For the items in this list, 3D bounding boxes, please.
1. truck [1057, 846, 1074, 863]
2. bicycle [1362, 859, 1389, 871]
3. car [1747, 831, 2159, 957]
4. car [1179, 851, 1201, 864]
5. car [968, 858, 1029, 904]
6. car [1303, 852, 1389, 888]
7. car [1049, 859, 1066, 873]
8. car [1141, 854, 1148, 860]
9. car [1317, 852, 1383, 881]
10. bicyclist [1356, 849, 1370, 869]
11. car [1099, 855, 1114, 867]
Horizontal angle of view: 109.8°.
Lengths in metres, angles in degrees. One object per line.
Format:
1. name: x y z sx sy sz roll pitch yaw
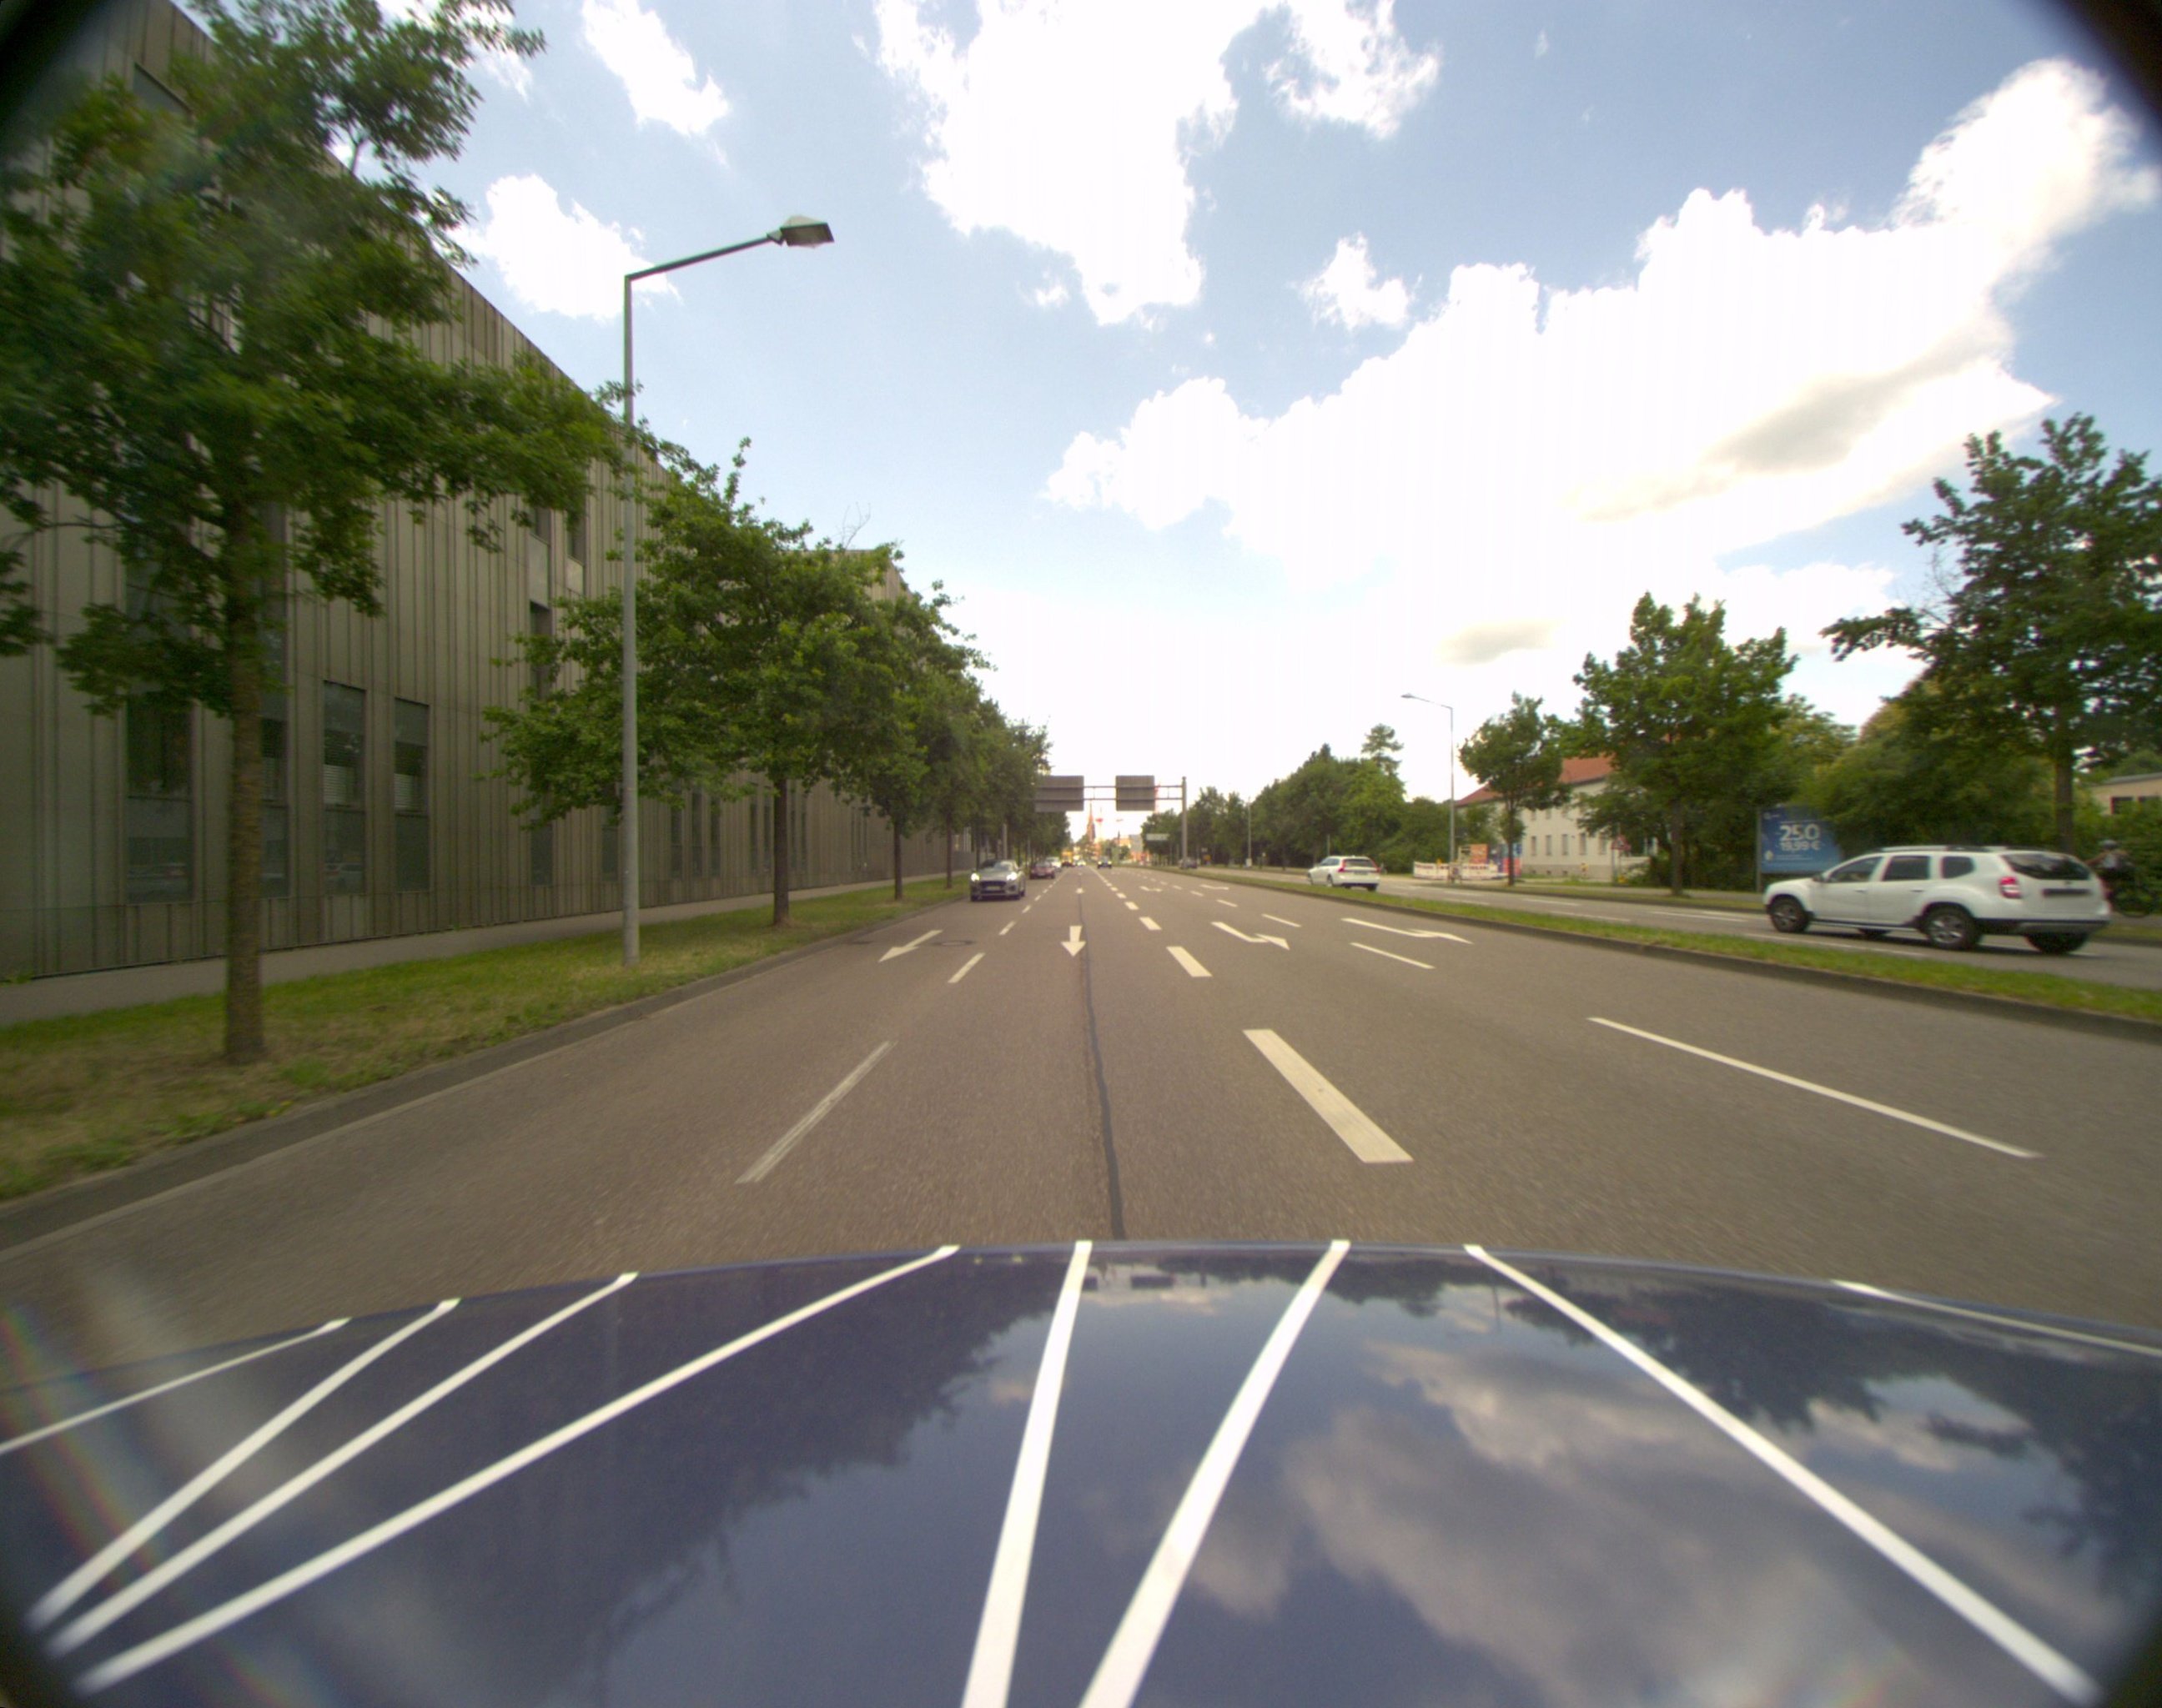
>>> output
1. truck: -2.904 0.044 145.179 3.066 3.095 7.935 0 0 0
2. bicycle: 26.000 0.980 67.028 0.665 1.009 2.143 0 1 -45
3. car: 14.434 0.579 13.093 1.999 1.790 4.409 0 0 -1
4. car: 13.379 0.437 93.377 1.964 1.508 4.909 0 0 0
5. car: -3.047 0.956 28.750 1.823 1.565 3.954 -2 0 0
6. car: 11.213 0.646 32.588 1.998 1.423 5.024 0 0 1
7. car: -2.542 1.265 83.357 1.713 1.487 3.650 0 0 0
8. car: 17.462 0.781 209.237 1.713 1.487 3.698 0 0 1
9. car: 14.463 0.622 41.049 1.919 1.434 4.414 2 0 -1
10. bicyclist: 22.554 0.398 60.795 0.740 1.648 0.980 0 0 -4
11. car: 3.281 0.939 99.043 1.782 1.487 3.598 0 0 0
